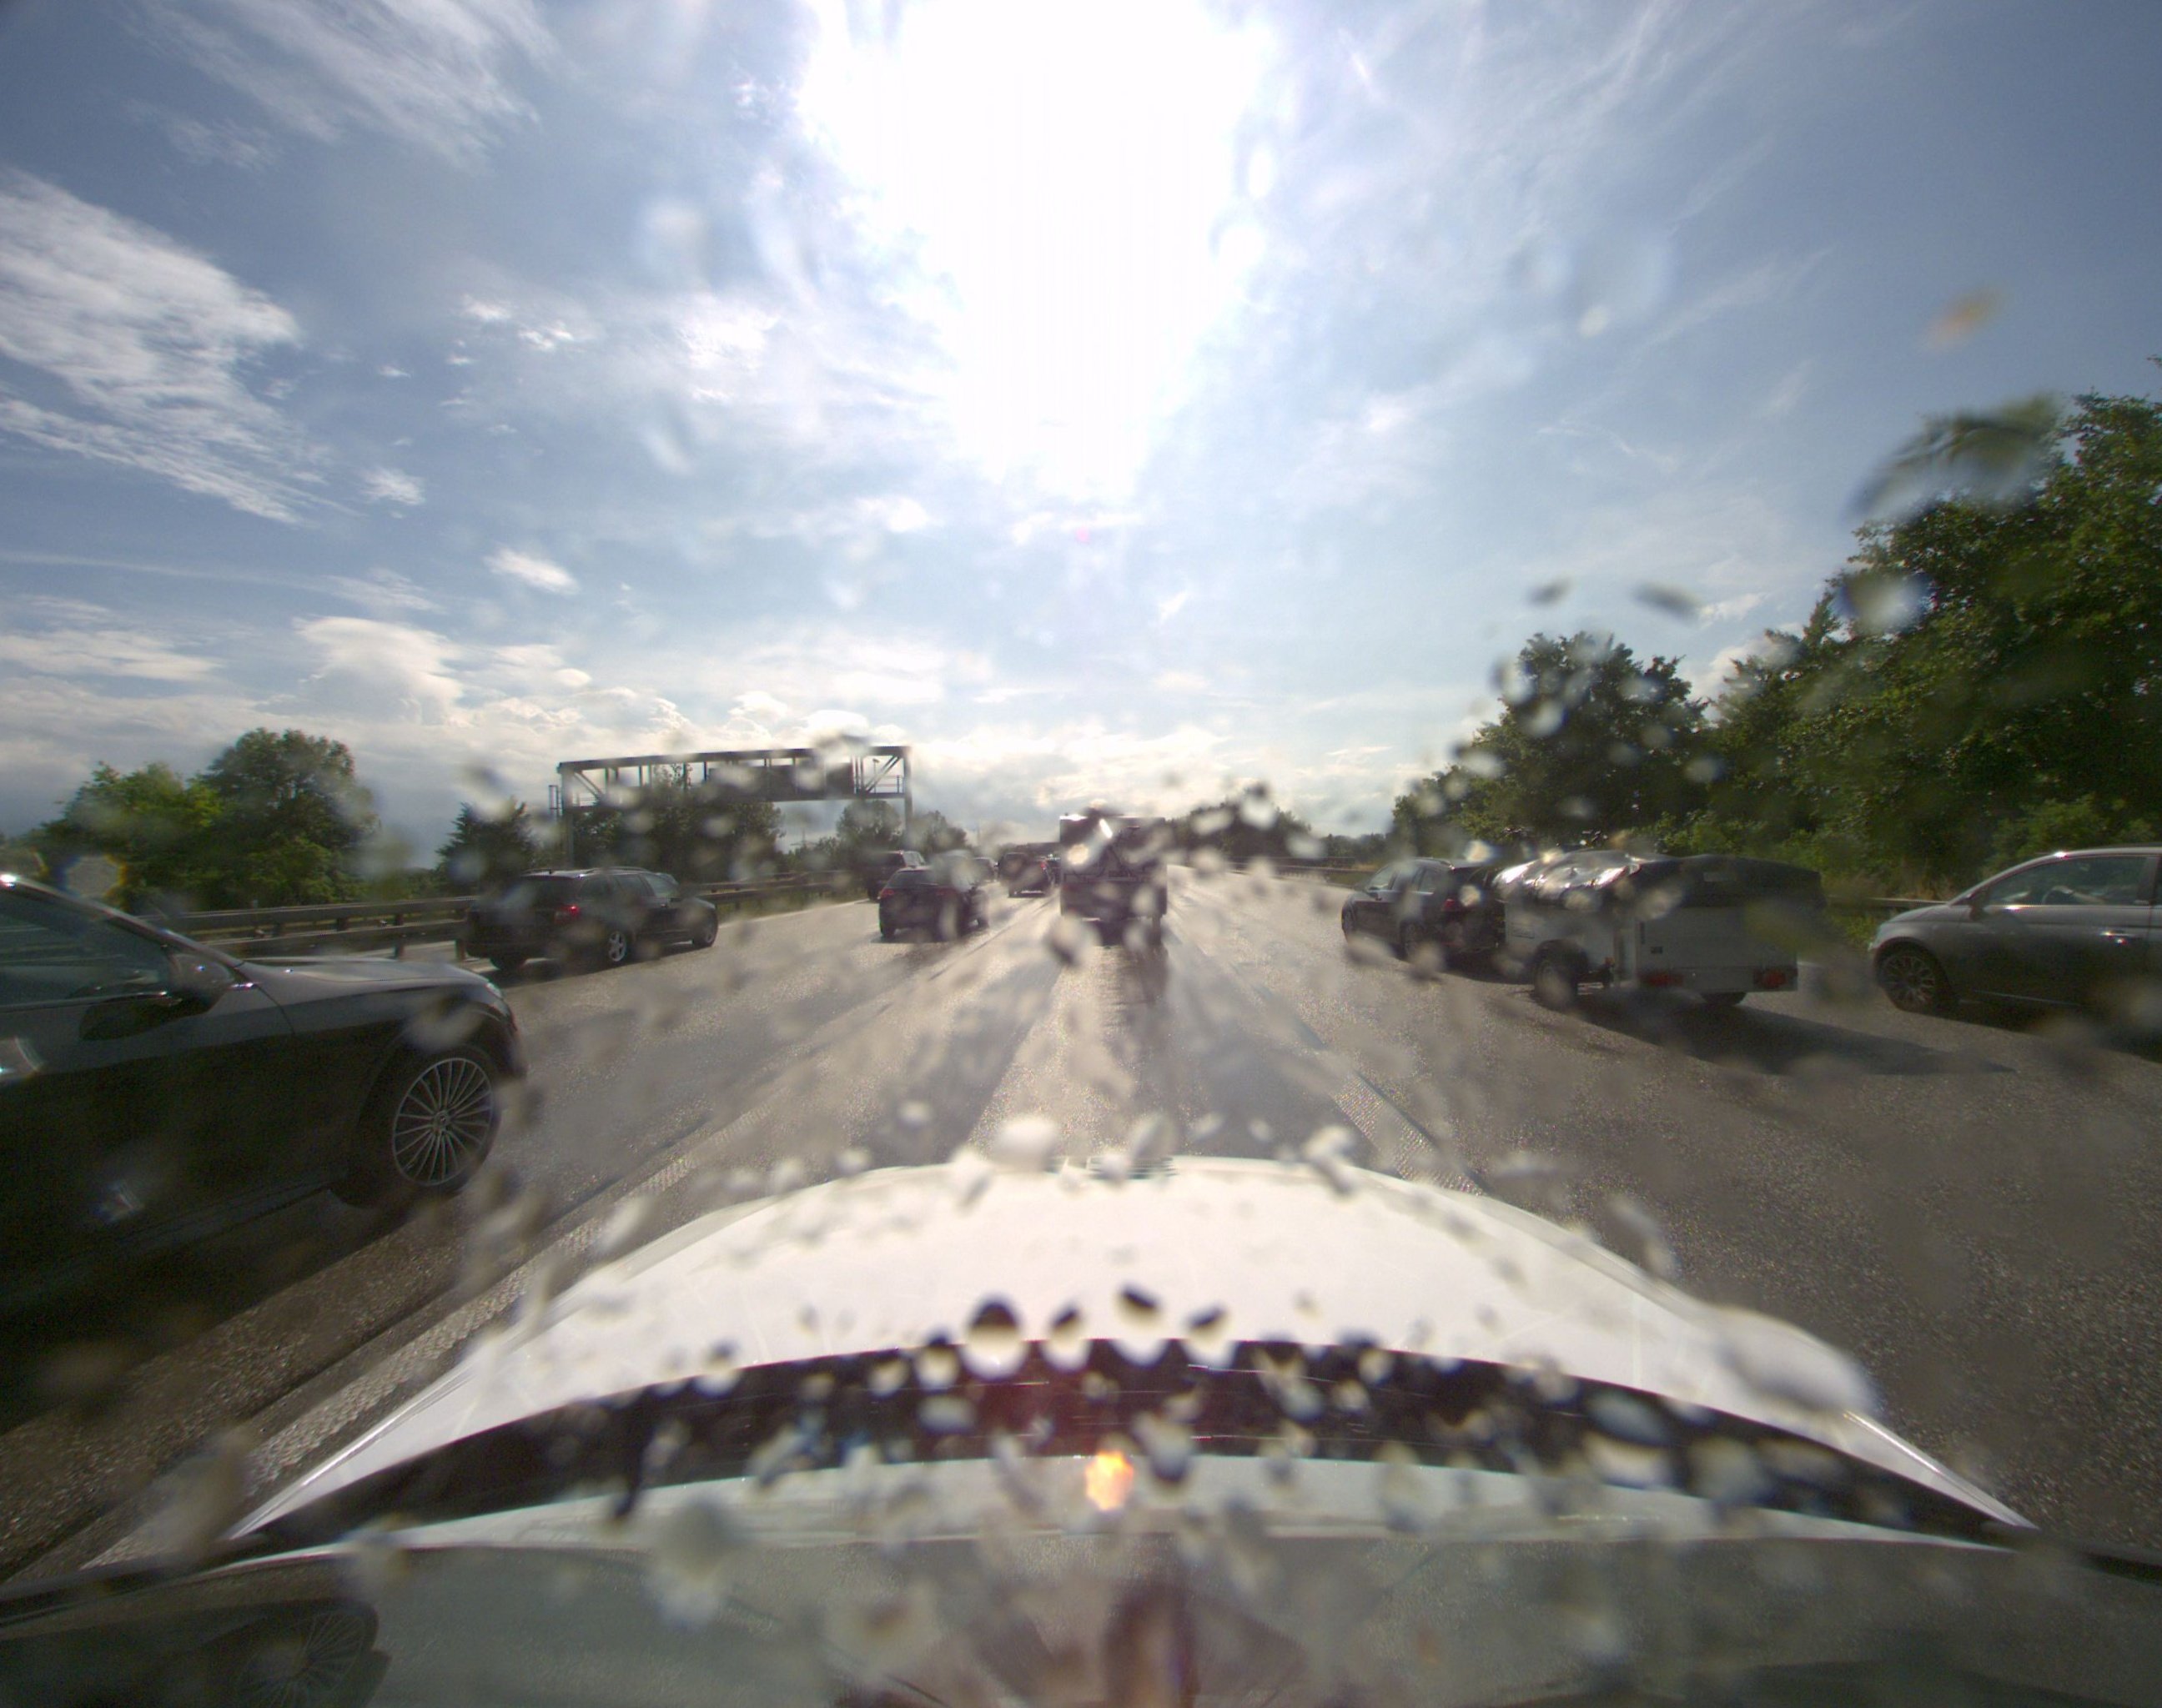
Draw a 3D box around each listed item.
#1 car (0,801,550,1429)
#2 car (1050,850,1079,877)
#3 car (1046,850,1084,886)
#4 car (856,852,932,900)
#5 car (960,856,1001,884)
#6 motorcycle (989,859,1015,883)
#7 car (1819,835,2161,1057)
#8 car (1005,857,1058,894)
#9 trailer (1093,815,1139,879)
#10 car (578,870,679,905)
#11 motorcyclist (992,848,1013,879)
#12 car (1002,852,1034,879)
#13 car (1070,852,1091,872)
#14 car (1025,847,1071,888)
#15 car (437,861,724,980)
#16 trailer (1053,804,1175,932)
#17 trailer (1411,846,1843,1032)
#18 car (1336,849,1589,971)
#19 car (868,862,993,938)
[{"bbox_3d":[-3.864,0.707,2.092,1.986,1.661,4.407,-1,-1,2],"label":"car"},{"bbox_3d":[-1.287,0.737,64.667,1.985,2.014,4.003,0,0,3],"label":"car"},{"bbox_3d":[-0.939,0.828,49.666,1.985,2.013,4.003,2,0,3],"label":"car"},{"bbox_3d":[-7.168,0.823,31.633,1.987,1.720,4.000,0,-1,1],"label":"car"},{"bbox_3d":[-6.423,1.011,52.478,1.985,1.772,4.003,0,0,3],"label":"car"},{"bbox_3d":[-4.471,0.961,46.335,1.069,1.271,2.692,-1,0,3],"label":"motorcycle"},{"bbox_3d":[8.076,0.603,6.194,1.665,1.482,3.673,-1,0,2],"label":"car"},{"bbox_3d":[-2.005,0.861,33.796,1.799,1.407,4.002,0,-1,2],"label":"car"},{"bbox_3d":[2.591,-0.431,57.733,2.993,4.166,8.545,-1,0,4],"label":"trailer"},{"bbox_3d":[-22.049,1.605,39.964,2.110,1.487,5.036,-1,0,0],"label":"car"},{"bbox_3d":[-4.480,0.529,46.389,1.060,1.718,0.785,-1,-1,2],"label":"motorcyclist"},{"bbox_3d":[-5.132,0.909,66.733,1.985,2.013,4.003,2,0,3],"label":"car"},{"bbox_3d":[-0.023,0.835,85.555,1.985,2.014,4.003,-1,0,3],"label":"car"},{"bbox_3d":[-1.654,0.659,42.193,1.985,2.014,4.003,0,0,3],"label":"car"},{"bbox_3d":[-7.571,0.900,12.904,1.750,1.516,4.212,-1,0,3],"label":"car"},{"bbox_3d":[0.754,0.303,19.114,2.365,2.483,6.525,0,-1,2],"label":"trailer"},{"bbox_3d":[5.178,0.680,8.556,1.847,1.442,4.149,-1,0,2],"label":"trailer"},{"bbox_3d":[5.304,0.691,12.042,1.847,1.442,4.260,-1,0,2],"label":"car"},{"bbox_3d":[-3.101,0.905,17.574,1.750,1.387,3.948,-1,0,3],"label":"car"}]
